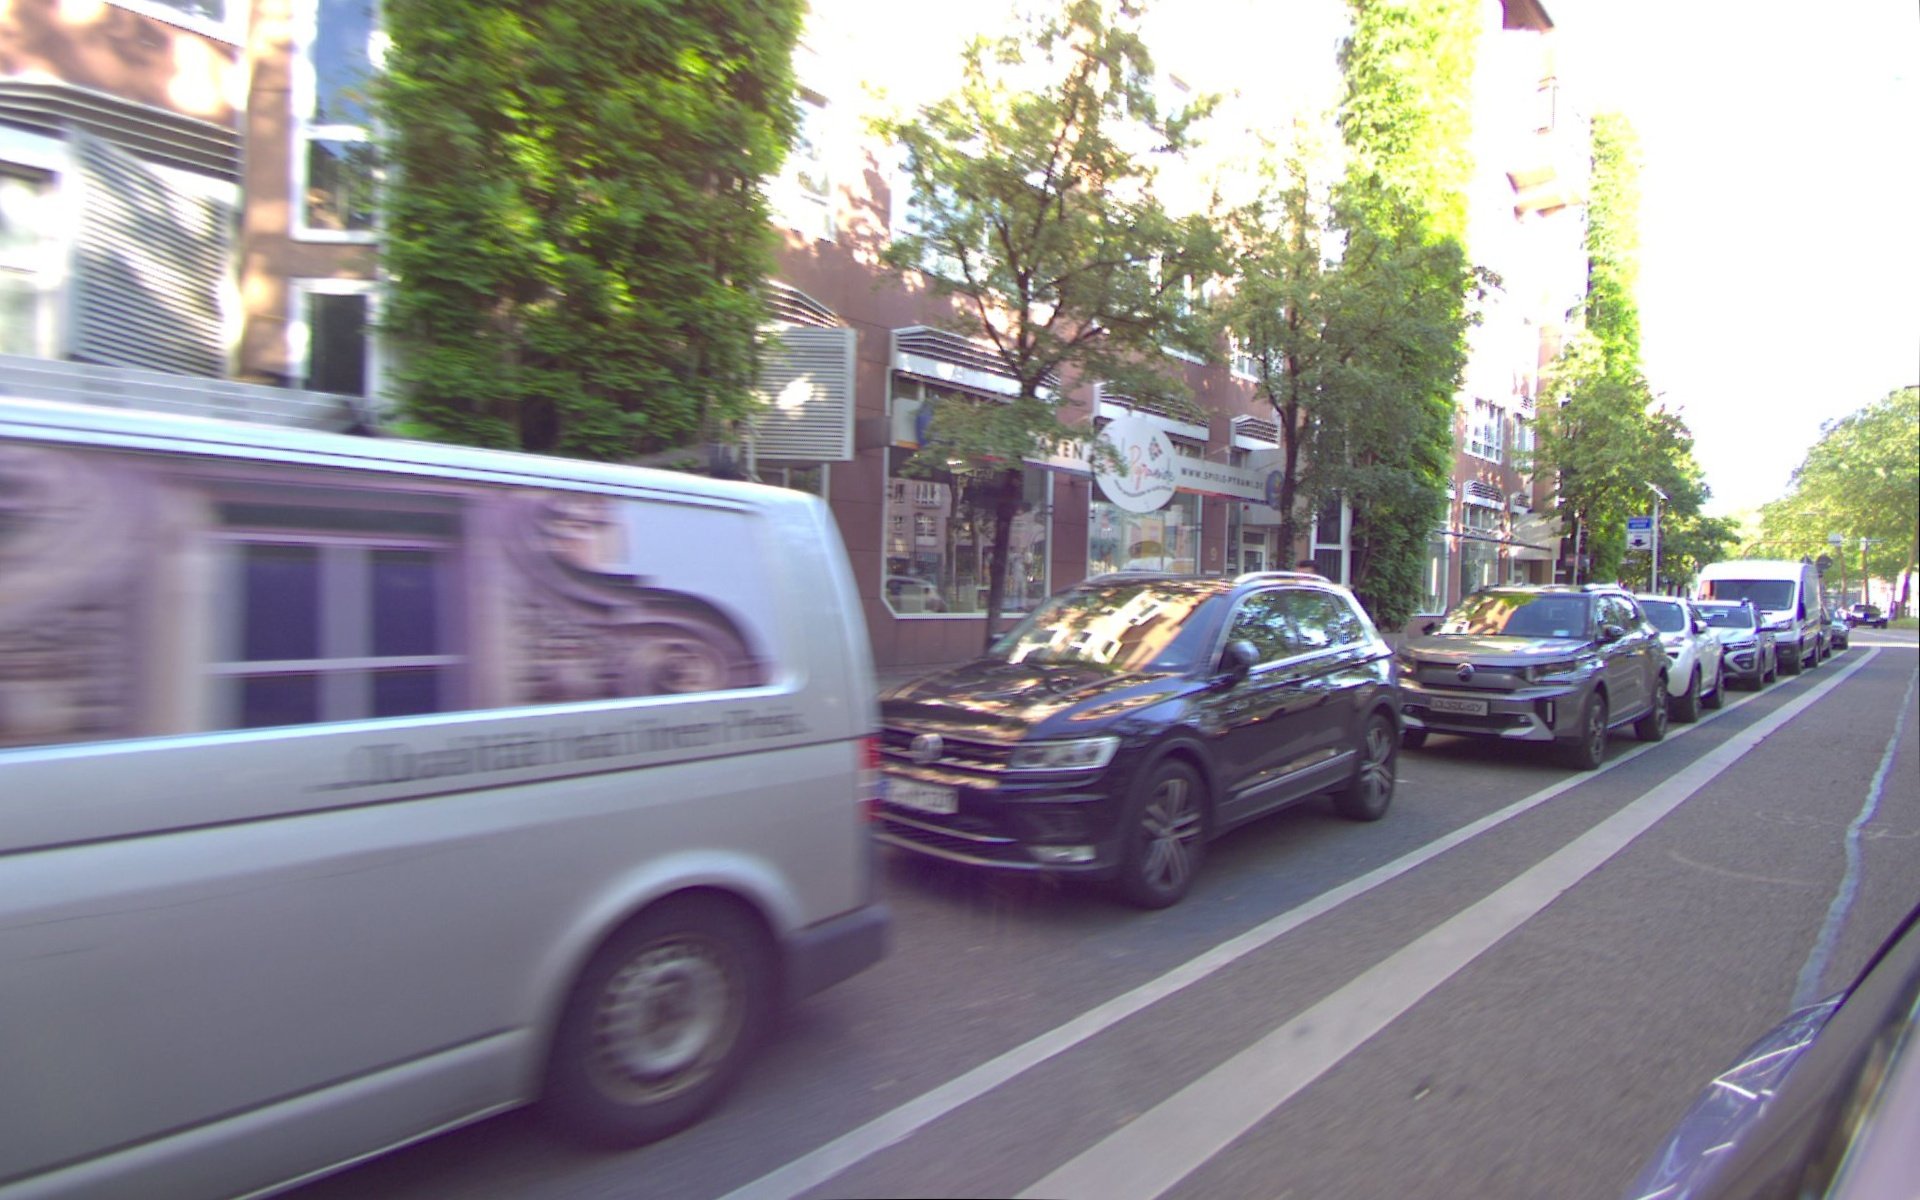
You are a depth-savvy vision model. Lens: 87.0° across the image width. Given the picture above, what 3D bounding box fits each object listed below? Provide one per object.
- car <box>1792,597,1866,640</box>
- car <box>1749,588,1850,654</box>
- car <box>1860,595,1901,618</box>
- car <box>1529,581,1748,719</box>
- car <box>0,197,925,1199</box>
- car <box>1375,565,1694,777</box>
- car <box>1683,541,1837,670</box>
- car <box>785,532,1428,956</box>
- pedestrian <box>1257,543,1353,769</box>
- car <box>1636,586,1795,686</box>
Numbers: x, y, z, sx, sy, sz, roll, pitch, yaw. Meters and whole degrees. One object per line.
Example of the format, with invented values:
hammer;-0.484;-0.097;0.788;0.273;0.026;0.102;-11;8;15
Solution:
car;29.748;0.595;34.659;1.802;1.347;3.932;2;1;41
car;23.168;0.512;27.873;1.804;1.647;4.404;2;1;44
car;64.836;0.441;71.275;1.994;1.552;3.937;0;0;44
car;9.456;0.569;13.979;1.829;1.598;3.936;2;1;44
car;-2.570;0.344;2.150;1.919;2.104;5.088;2;1;44
car;5.997;0.542;10.307;1.788;1.691;4.369;2;1;44
car;18.388;0.080;23.130;2.116;2.597;5.810;2;1;45
car;1.161;0.547;6.152;1.788;1.691;4.133;2;1;44
pedestrian;2.946;0.446;8.651;0.707;1.835;0.659;1;1;20
car;13.847;0.573;18.469;1.829;1.598;3.936;2;1;44
